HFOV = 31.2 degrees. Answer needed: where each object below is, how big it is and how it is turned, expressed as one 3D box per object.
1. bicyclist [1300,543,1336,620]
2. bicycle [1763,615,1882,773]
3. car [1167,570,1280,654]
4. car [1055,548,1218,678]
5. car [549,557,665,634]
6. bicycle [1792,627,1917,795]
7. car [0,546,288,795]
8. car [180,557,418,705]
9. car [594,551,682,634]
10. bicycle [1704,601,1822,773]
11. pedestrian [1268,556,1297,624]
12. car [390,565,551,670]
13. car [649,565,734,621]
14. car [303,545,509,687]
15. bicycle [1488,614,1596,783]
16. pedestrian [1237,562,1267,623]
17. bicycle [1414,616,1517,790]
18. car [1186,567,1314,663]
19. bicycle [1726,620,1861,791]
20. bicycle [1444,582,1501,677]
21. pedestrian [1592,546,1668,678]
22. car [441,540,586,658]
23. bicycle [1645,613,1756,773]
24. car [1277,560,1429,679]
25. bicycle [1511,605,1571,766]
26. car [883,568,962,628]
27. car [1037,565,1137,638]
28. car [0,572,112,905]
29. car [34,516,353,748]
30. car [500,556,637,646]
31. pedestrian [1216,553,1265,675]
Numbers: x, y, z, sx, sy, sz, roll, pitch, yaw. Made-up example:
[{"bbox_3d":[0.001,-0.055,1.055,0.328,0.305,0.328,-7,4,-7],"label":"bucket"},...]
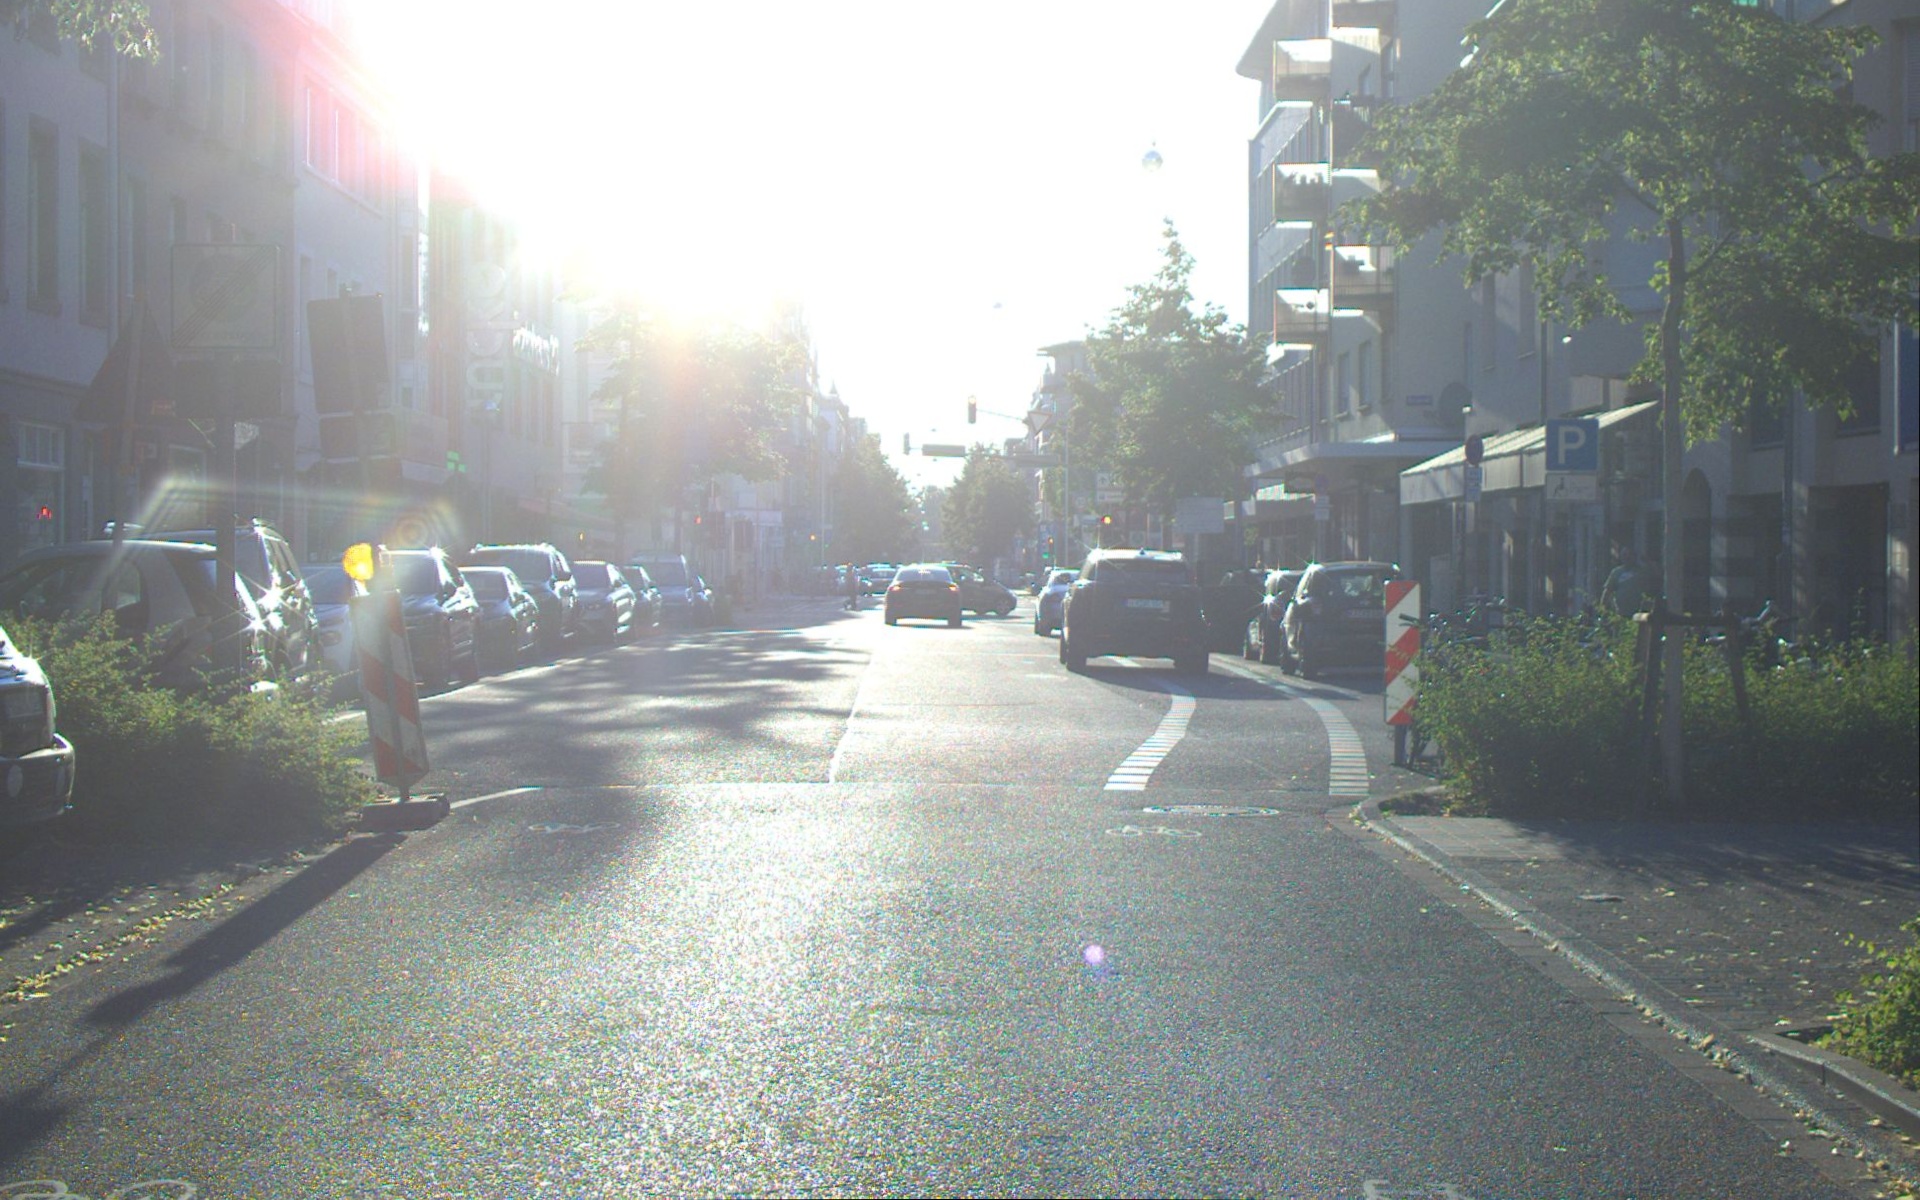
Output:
[{"bbox_3d":[7.903,-0.404,75.918,0.650,1.696,1.095,0,0,-2],"label":"bicyclist"},{"bbox_3d":[6.207,0.657,24.804,0.382,1.096,1.523,0,0,-4],"label":"bicycle"},{"bbox_3d":[4.665,0.190,61.271,1.703,1.431,3.932,-1,0,0],"label":"car"},{"bbox_3d":[2.405,0.148,47.833,1.995,1.649,4.674,2,1,0],"label":"car"},{"bbox_3d":[-7.102,-0.091,69.491,1.827,1.434,4.553,-2,0,0],"label":"car"},{"bbox_3d":[6.199,0.751,23.874,0.382,1.096,1.523,0,1,-4],"label":"bicycle"},{"bbox_3d":[-5.930,0.455,22.697,2.693,1.515,1.572,-2,2,-3],"label":"car"},{"bbox_3d":[-7.112,0.291,37.339,1.774,1.510,3.950,0,1,1],"label":"car"},{"bbox_3d":[-7.333,-0.175,78.576,1.833,1.848,4.124,0,0,-3],"label":"car"},{"bbox_3d":[5.776,0.611,24.781,0.382,1.185,1.523,1,0,-4],"label":"bicycle"},{"bbox_3d":[8.218,-0.264,87.540,0.688,1.716,0.716,-1,0,6],"label":"pedestrian"},{"bbox_3d":[-7.151,0.228,50.590,1.713,1.435,4.309,-1,1,0],"label":"car"},{"bbox_3d":[-6.600,-0.189,84.842,1.833,1.323,4.124,0,1,-1],"label":"car"},{"bbox_3d":[-6.670,0.159,41.766,1.774,1.627,4.238,0,1,1],"label":"car"},{"bbox_3d":[3.916,0.662,23.204,0.382,1.096,1.523,0,-1,-3],"label":"bicycle"},{"bbox_3d":[7.445,-0.195,87.736,0.688,1.553,0.863,0,0,0],"label":"pedestrian"},{"bbox_3d":[3.351,0.665,22.859,0.382,1.096,1.523,0,1,-3],"label":"bicycle"},{"bbox_3d":[4.494,0.212,53.623,1.633,1.419,3.758,-1,0,-1],"label":"car"},{"bbox_3d":[5.650,0.695,23.351,0.381,1.096,1.523,0,1,-7],"label":"bicycle"},{"bbox_3d":[6.837,0.380,45.924,0.397,1.230,1.826,-1,1,-2],"label":"bicycle"},{"bbox_3d":[8.489,0.148,43.582,0.810,1.641,0.606,-2,0,0],"label":"pedestrian"},{"bbox_3d":[-7.335,-0.048,56.924,1.827,1.804,5.349,-1,1,-2],"label":"car"},{"bbox_3d":[5.314,0.651,24.744,0.382,1.096,1.523,0,0,-3],"label":"bicycle"},{"bbox_3d":[5.311,0.244,46.664,1.632,1.548,2.695,-1,1,-2],"label":"car"},{"bbox_3d":[4.216,0.601,24.912,0.371,1.104,1.522,0,1,12],"label":"bicycle"},{"bbox_3d":[-0.908,-0.068,85.156,1.883,1.410,4.325,1,0,0],"label":"car"},{"bbox_3d":[2.652,0.014,72.590,1.922,1.410,4.548,2,0,0],"label":"car"},{"bbox_3d":[-5.706,0.563,15.322,3.397,1.387,1.686,1,1,3],"label":"car"},{"bbox_3d":[-6.235,0.231,28.478,1.904,1.722,4.703,-1,0,-5],"label":"car"},{"bbox_3d":[-7.164,-0.011,63.431,1.827,1.551,5.136,-2,1,1],"label":"car"},{"bbox_3d":[3.862,0.186,47.323,0.441,1.659,0.565,-1,1,-25],"label":"pedestrian"}]
